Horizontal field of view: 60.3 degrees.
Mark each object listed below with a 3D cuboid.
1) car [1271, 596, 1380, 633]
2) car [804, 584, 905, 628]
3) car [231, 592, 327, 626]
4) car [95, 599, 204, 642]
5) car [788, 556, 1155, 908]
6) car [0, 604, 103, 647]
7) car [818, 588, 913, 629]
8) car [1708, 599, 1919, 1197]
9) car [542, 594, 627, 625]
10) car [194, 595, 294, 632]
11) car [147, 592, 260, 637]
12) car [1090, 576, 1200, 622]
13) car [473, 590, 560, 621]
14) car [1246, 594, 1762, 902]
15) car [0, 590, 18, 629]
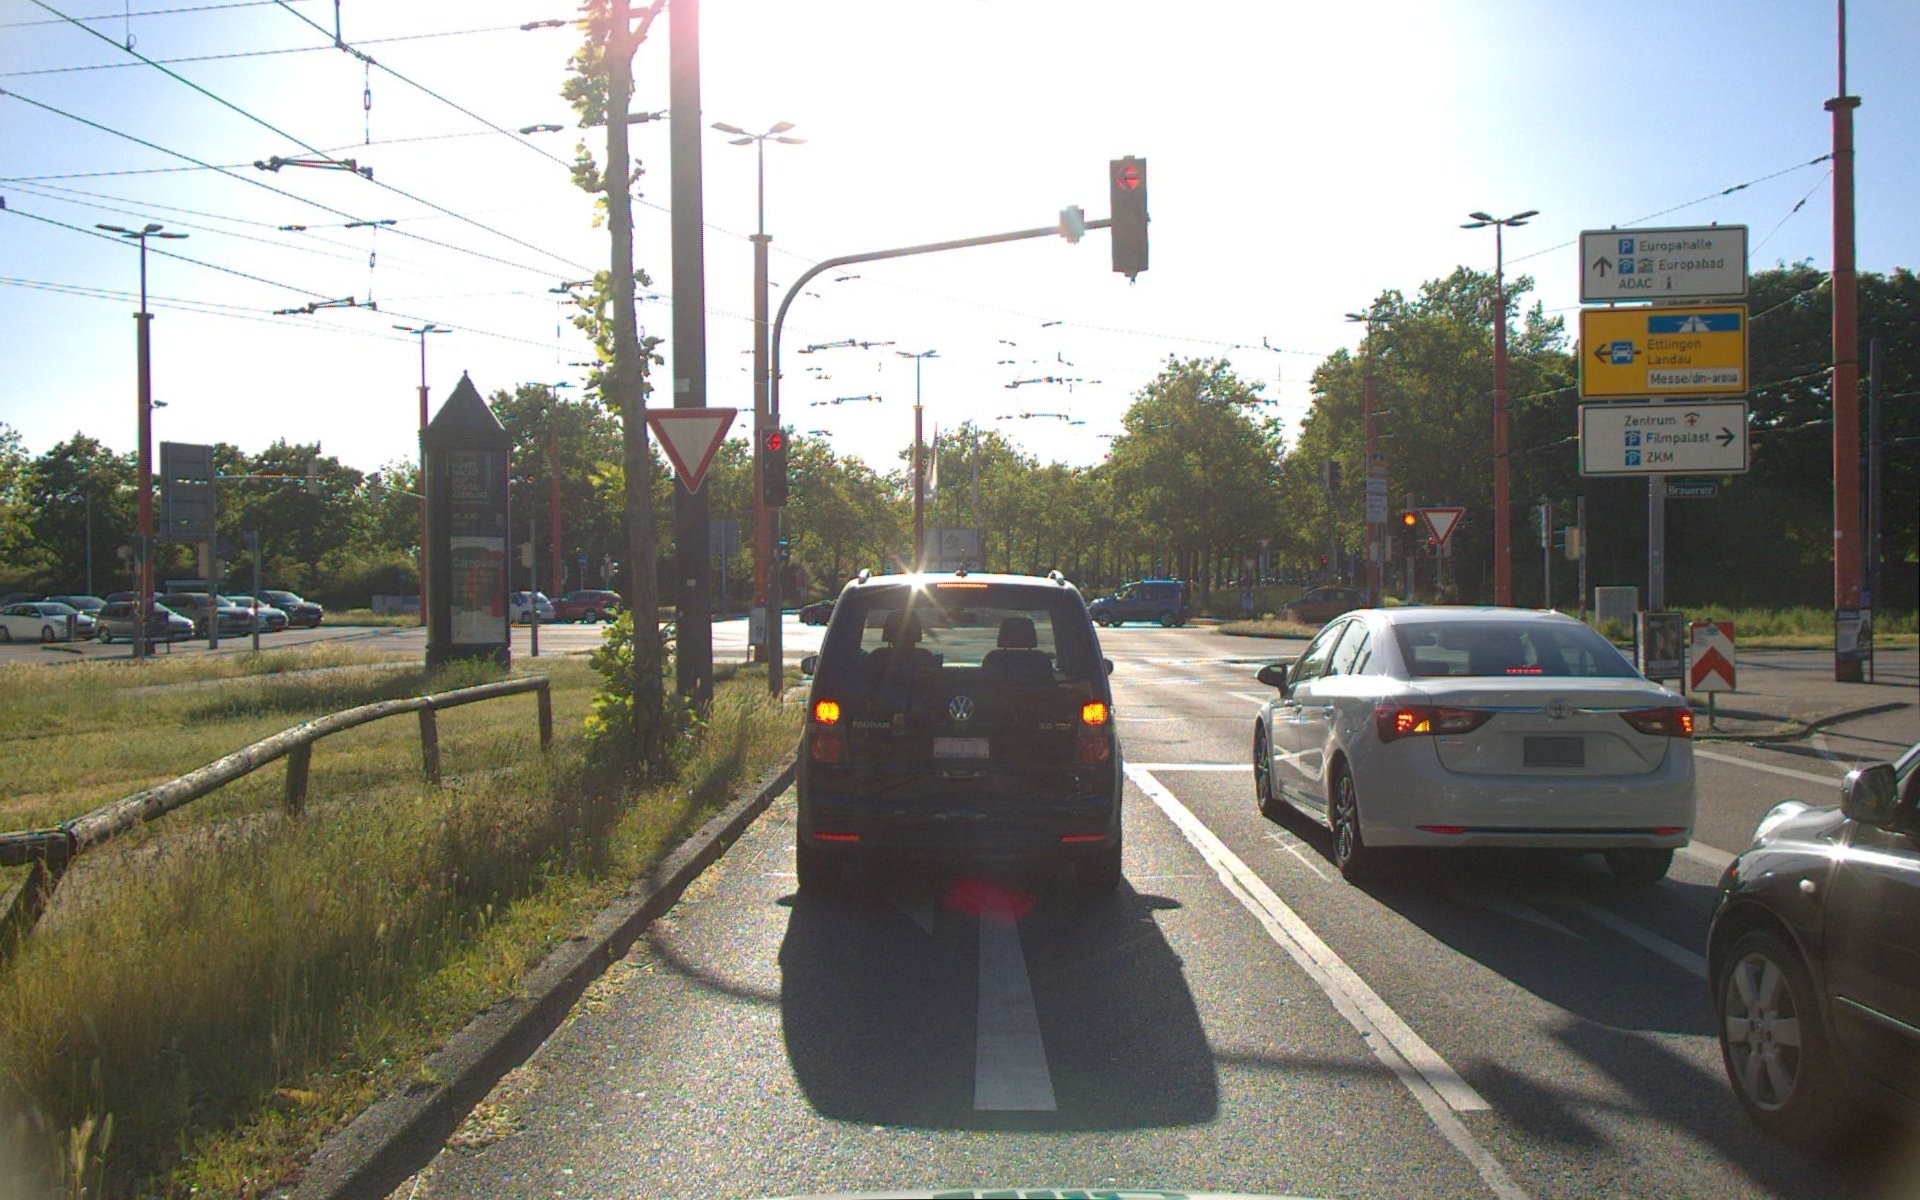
[{"bbox_3d":[14.802,0.579,66.980,4.036,1.427,1.656,0,0,25],"label":"car"},{"bbox_3d":[-4.602,0.246,72.013,4.035,1.822,1.798,0,0,22],"label":"car"},{"bbox_3d":[-29.471,0.370,71.551,4.060,1.440,1.542,0,0,26],"label":"car"},{"bbox_3d":[-29.546,0.728,60.302,3.755,1.466,1.655,0,0,27],"label":"car"},{"bbox_3d":[0.067,0.634,9.966,1.703,1.630,4.326,1,0,0],"label":"car"},{"bbox_3d":[-34.941,0.967,63.255,4.536,1.546,1.654,0,0,30],"label":"car"},{"bbox_3d":[-4.388,0.381,76.571,4.037,1.822,1.797,0,0,25],"label":"car"},{"bbox_3d":[3.136,0.740,3.491,1.544,1.465,3.441,1,0,0],"label":"car"},{"bbox_3d":[-18.892,0.475,83.159,4.037,1.497,1.655,0,0,25],"label":"car"},{"bbox_3d":[-29.407,0.529,67.928,4.060,1.440,1.542,0,0,26],"label":"car"},{"bbox_3d":[-29.320,0.538,64.093,4.541,1.676,1.654,0,0,30],"label":"car"},{"bbox_3d":[7.451,-0.047,66.602,4.036,1.822,1.798,0,0,24],"label":"car"},{"bbox_3d":[-21.467,0.250,80.036,4.039,1.427,1.655,0,0,27],"label":"car"},{"bbox_3d":[3.015,0.727,10.188,1.762,1.465,4.326,1,0,0],"label":"car"},{"bbox_3d":[-42.988,0.381,71.636,4.541,1.676,1.753,0,0,30],"label":"car"}]
